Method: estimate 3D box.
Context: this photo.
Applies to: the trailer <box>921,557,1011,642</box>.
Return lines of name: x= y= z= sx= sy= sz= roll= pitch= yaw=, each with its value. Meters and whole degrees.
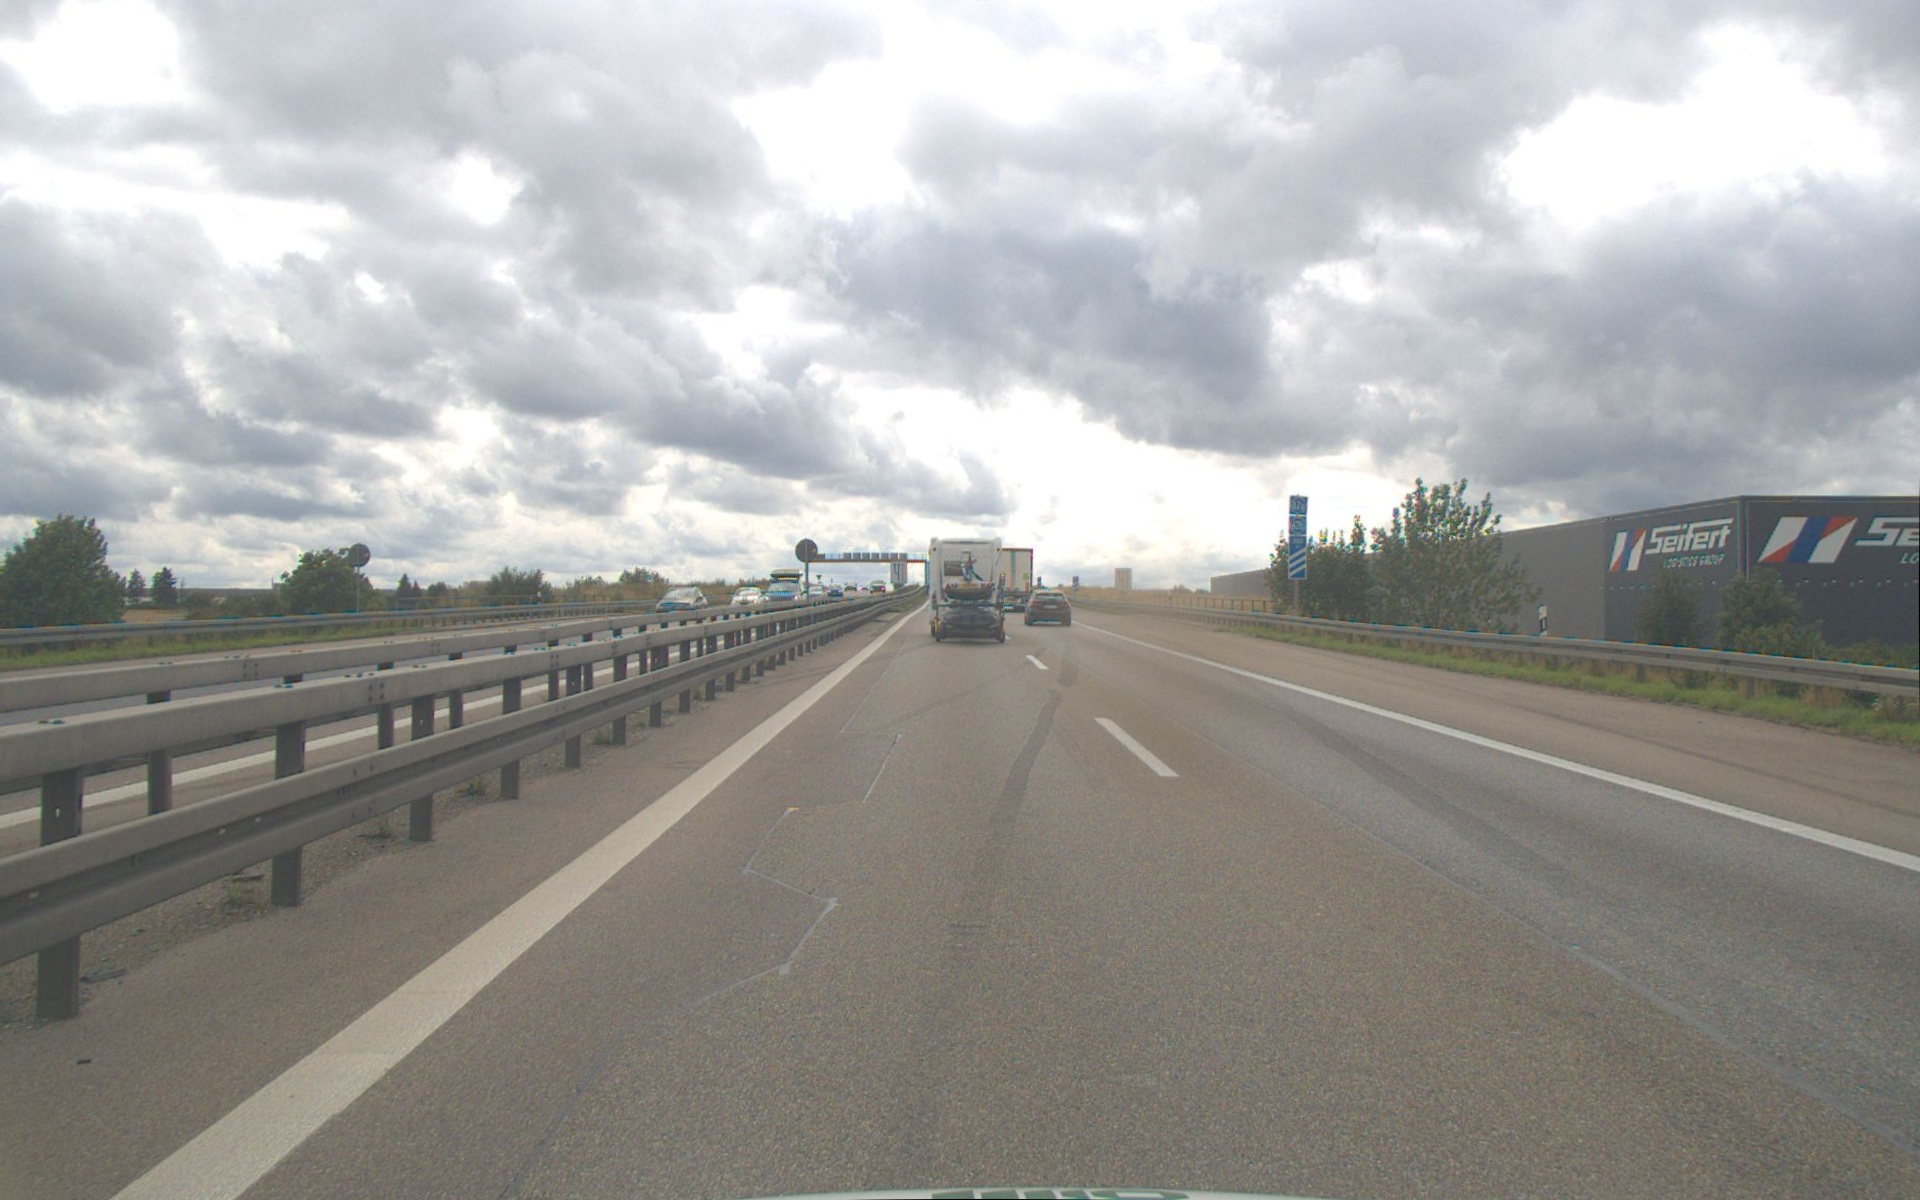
trailer: x=0.209 y=0.012 z=44.819 sx=2.290 sy=2.174 sz=4.001 roll=0 pitch=-1 yaw=2

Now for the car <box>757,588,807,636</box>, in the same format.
car: x=-8.028 y=0.515 z=74.828 sx=1.953 sy=2.049 sz=4.382 roll=1 pitch=1 yaw=-2

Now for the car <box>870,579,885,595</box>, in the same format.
car: x=-10.511 y=-1.652 z=210.070 sx=1.679 sy=1.932 sz=3.999 roll=0 pitch=-1 yaw=0

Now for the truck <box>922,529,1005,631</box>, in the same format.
truck: x=0.111 y=-0.548 z=51.807 sx=2.431 sy=3.002 sz=5.814 roll=0 pitch=-1 yaw=0

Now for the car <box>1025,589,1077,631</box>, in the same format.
car: x=3.719 y=0.420 z=68.066 sx=1.844 sy=1.649 sz=3.999 roll=0 pitch=-1 yaw=-1

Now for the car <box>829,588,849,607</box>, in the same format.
car: x=-13.141 y=-0.234 z=180.153 sx=1.855 sy=2.049 sz=3.999 roll=0 pitch=-1 yaw=0

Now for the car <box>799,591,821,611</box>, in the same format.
car: x=-13.950 y=0.127 z=153.666 sx=1.716 sy=1.817 sz=3.999 roll=0 pitch=-1 yaw=0

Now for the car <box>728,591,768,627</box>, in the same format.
car: x=-12.388 y=0.540 z=97.054 sx=1.953 sy=2.049 sz=4.381 roll=0 pitch=-1 yaw=-2

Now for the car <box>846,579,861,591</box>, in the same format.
car: x=-15.850 y=-2.294 z=246.251 sx=1.899 sy=1.713 sz=4.000 roll=1 pitch=1 yaw=0

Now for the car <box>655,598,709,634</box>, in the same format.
car: x=-12.168 y=0.683 z=72.621 sx=1.721 sy=1.494 sz=4.559 roll=1 pitch=1 yaw=-2

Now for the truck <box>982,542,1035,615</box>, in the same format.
truck: x=3.143 y=-1.304 z=108.415 sx=3.180 sy=4.605 sz=7.065 roll=0 pitch=-1 yaw=0
